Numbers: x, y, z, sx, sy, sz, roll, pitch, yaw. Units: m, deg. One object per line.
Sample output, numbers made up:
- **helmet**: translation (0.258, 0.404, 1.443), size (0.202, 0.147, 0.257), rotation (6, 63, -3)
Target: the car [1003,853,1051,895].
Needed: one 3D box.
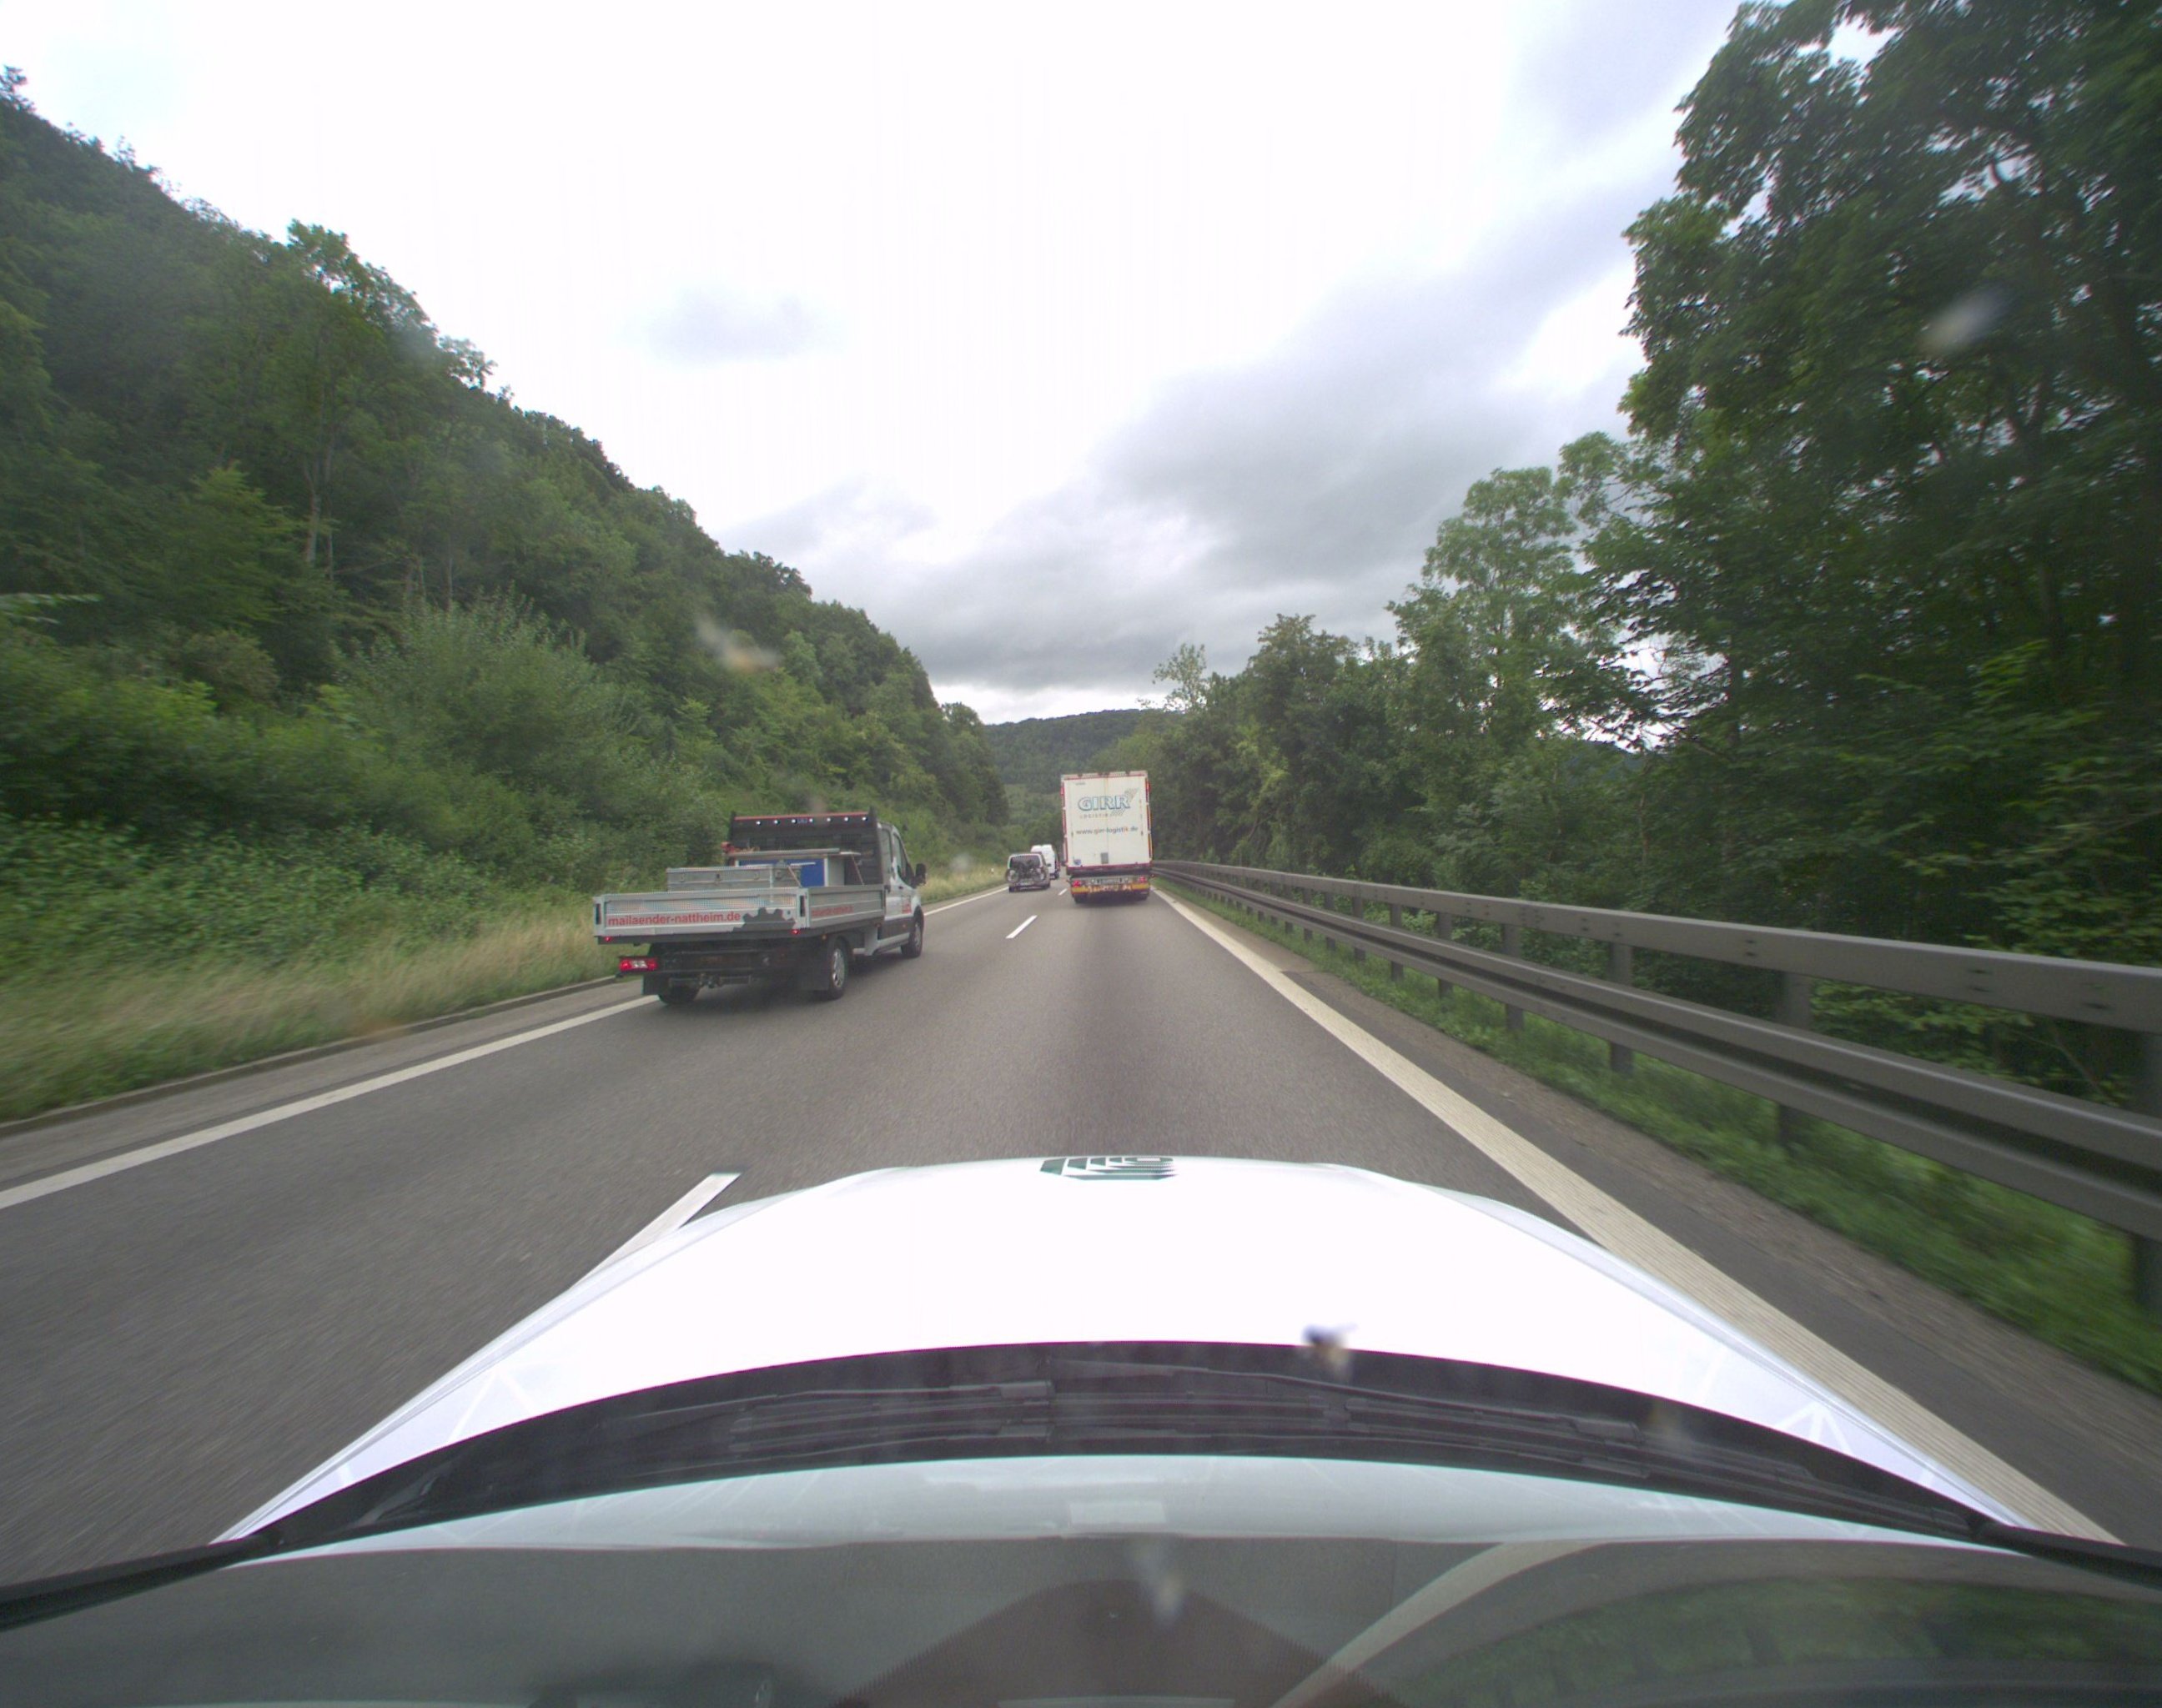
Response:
- **car**: translation (-2.654, 0.955, 41.441), size (2.012, 1.914, 5.561), rotation (-3, 0, -1)

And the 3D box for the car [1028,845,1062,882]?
- **car**: translation (-2.642, 0.690, 61.675), size (2.117, 2.598, 5.563), rotation (-4, 0, 1)

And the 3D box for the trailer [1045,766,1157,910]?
- **trailer**: translation (0.759, -0.456, 28.208), size (3.121, 4.043, 9.444), rotation (-2, 0, 2)

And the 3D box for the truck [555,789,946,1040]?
- **truck**: translation (-3.719, 0.588, 11.175), size (2.341, 2.274, 6.850), rotation (-3, 0, 1)

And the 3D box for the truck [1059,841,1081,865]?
- **truck**: translation (-1.990, -0.060, 138.934), size (3.063, 3.877, 8.445), rotation (-3, -1, -4)
